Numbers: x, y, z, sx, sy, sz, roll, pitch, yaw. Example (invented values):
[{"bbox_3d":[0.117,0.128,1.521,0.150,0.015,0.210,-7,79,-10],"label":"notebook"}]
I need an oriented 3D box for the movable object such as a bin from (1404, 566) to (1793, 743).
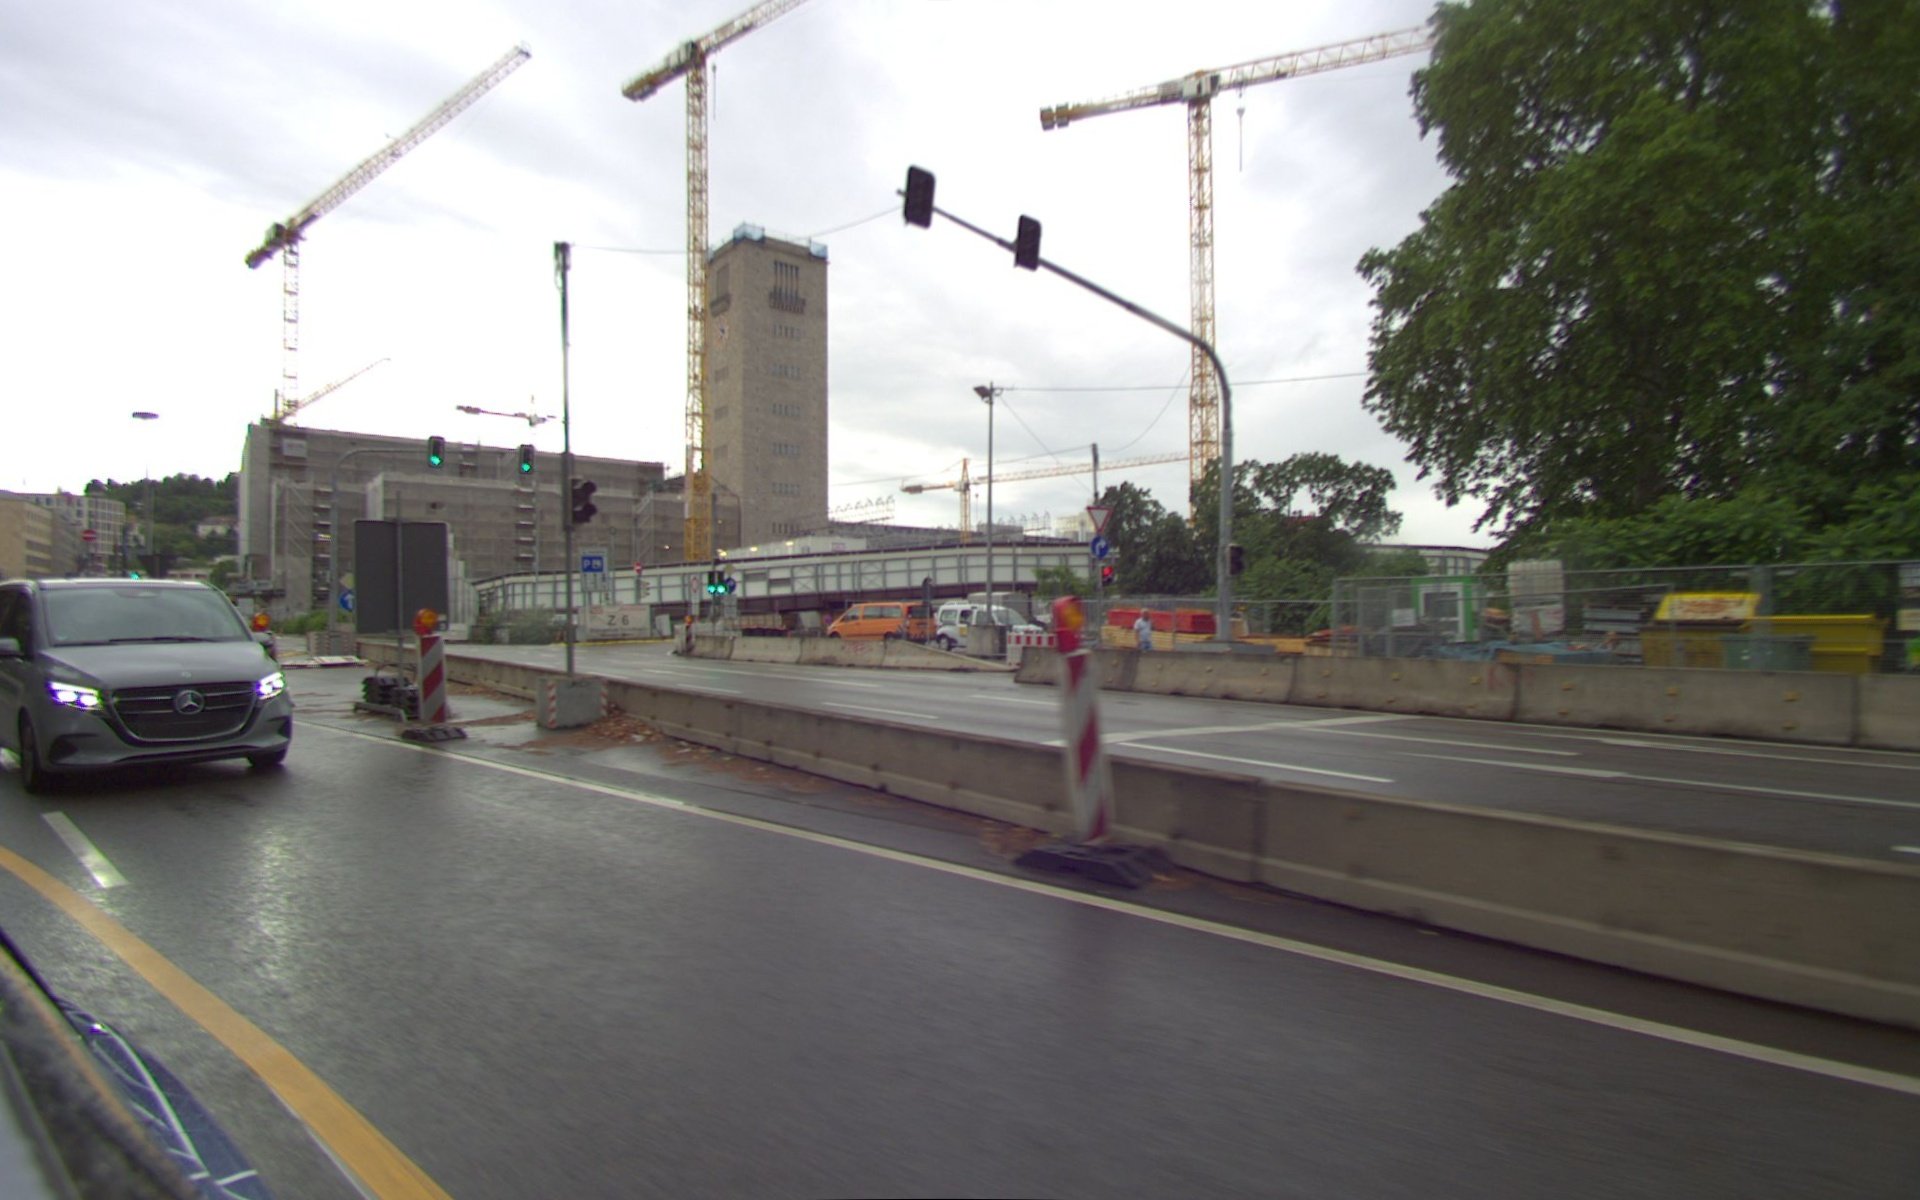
[{"bbox_3d":[13.507,1.066,21.672,6.390,3.152,3.888,-1,-2,44],"label":"movable object such as a bin"}]

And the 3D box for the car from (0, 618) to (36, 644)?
[{"bbox_3d":[-68.561,2.256,73.446,1.970,1.828,4.295,2,-2,-45],"label":"car"}]

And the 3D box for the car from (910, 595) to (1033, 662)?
[{"bbox_3d":[0.490,1.401,49.999,6.169,3.089,2.249,-1,-2,43],"label":"car"}]

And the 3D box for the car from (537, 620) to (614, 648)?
[{"bbox_3d":[-28.266,2.525,74.467,4.967,2.029,1.995,0,-2,8],"label":"car"}]

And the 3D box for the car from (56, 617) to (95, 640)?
[{"bbox_3d":[-65.868,2.151,75.360,4.576,1.665,1.807,-1,-3,45],"label":"car"}]

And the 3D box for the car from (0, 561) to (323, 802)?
[{"bbox_3d":[-8.683,0.706,10.244,5.347,1.870,1.976,-2,-1,36],"label":"car"}]

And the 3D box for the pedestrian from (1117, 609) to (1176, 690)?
[{"bbox_3d":[4.763,1.248,25.958,1.155,2.029,1.185,0,-1,-8],"label":"pedestrian"}]

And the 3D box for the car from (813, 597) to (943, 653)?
[{"bbox_3d":[-3.450,1.044,41.837,5.579,2.117,1.973,-1,-4,41],"label":"car"}]

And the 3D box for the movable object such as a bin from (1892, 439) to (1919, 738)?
[{"bbox_3d":[19.932,-0.171,15.363,8.362,4.839,4.696,-1,-2,44],"label":"movable object such as a bin"}]

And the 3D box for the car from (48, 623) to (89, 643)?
[{"bbox_3d":[-70.463,2.605,79.945,2.142,1.585,4.002,3,-3,-45],"label":"car"}]

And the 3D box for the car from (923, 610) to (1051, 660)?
[{"bbox_3d":[0.952,1.279,37.852,4.798,1.775,1.824,-1,-2,44],"label":"car"}]
